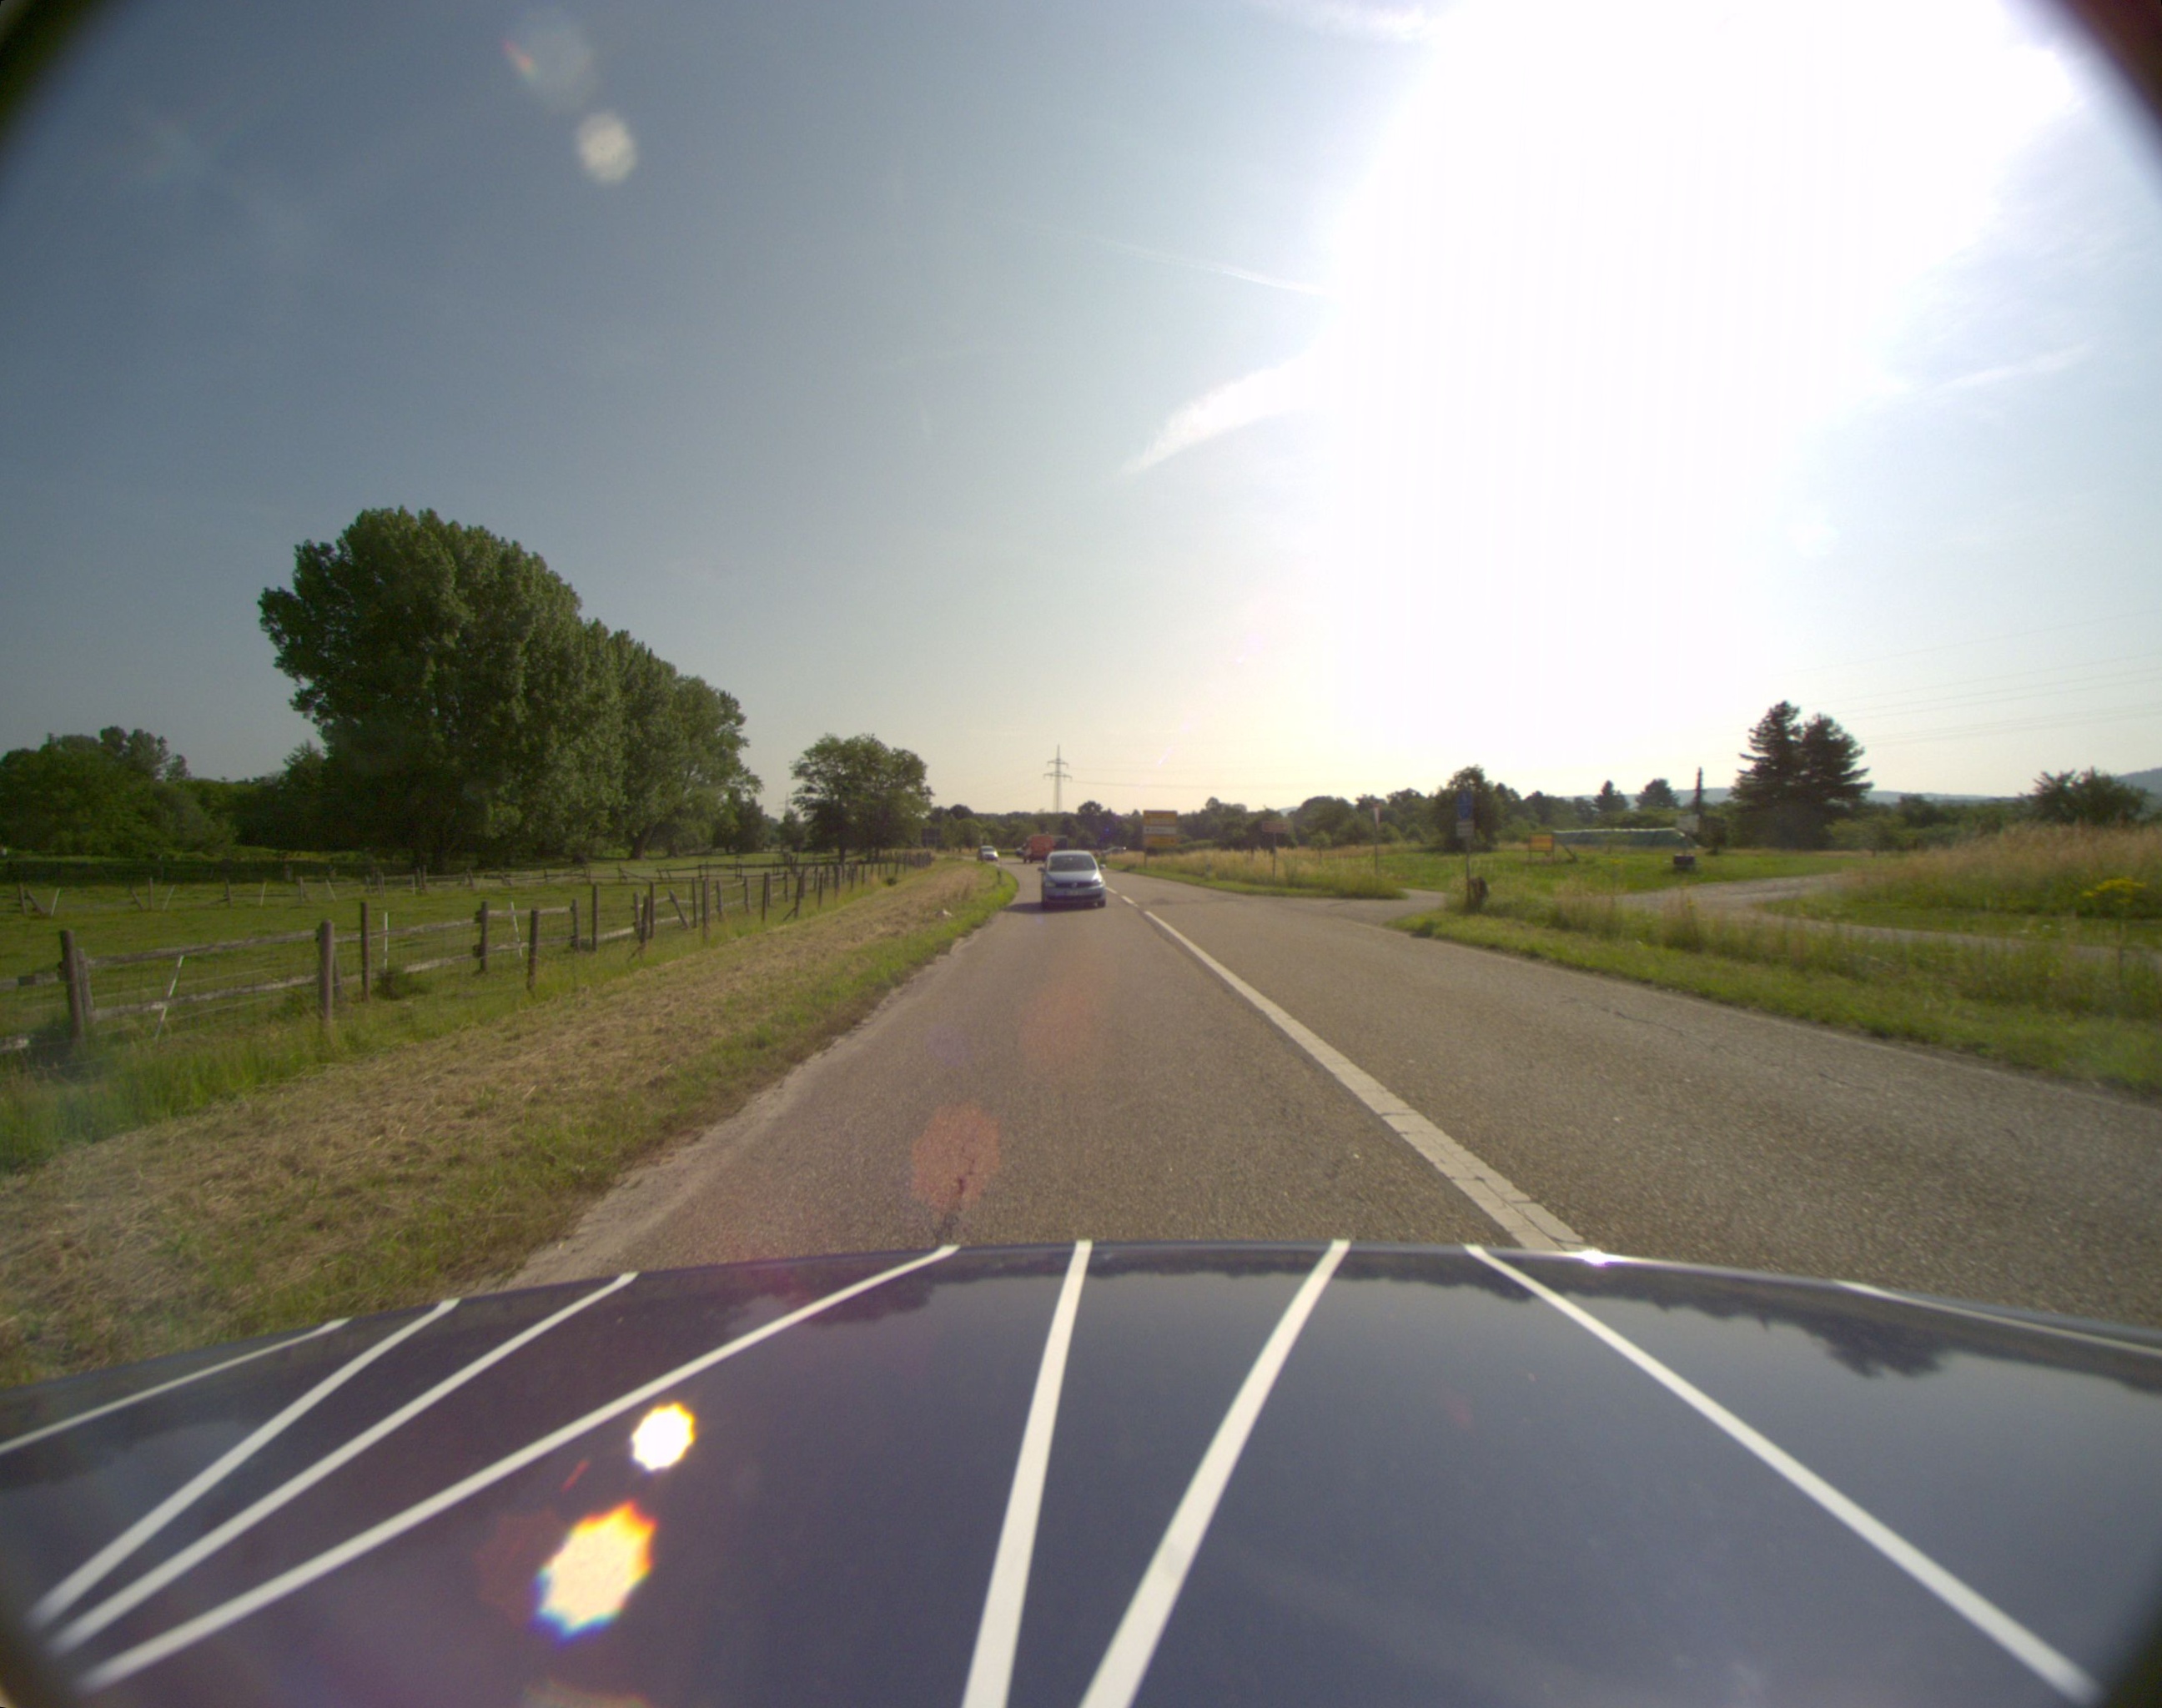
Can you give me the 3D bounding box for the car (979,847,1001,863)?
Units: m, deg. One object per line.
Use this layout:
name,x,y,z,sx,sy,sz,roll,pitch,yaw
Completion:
car,-9.416,0.128,78.680,2.000,1.571,3.904,-1,1,-11

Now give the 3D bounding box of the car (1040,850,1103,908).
car,-0.371,0.696,23.477,1.718,1.496,4.091,-2,1,-3

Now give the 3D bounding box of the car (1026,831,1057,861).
car,-3.768,-0.778,71.138,2.131,2.680,5.262,-1,1,-11

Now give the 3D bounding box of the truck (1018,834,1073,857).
truck,-4.896,-1.229,104.257,7.364,3.028,2.582,-1,1,-8
